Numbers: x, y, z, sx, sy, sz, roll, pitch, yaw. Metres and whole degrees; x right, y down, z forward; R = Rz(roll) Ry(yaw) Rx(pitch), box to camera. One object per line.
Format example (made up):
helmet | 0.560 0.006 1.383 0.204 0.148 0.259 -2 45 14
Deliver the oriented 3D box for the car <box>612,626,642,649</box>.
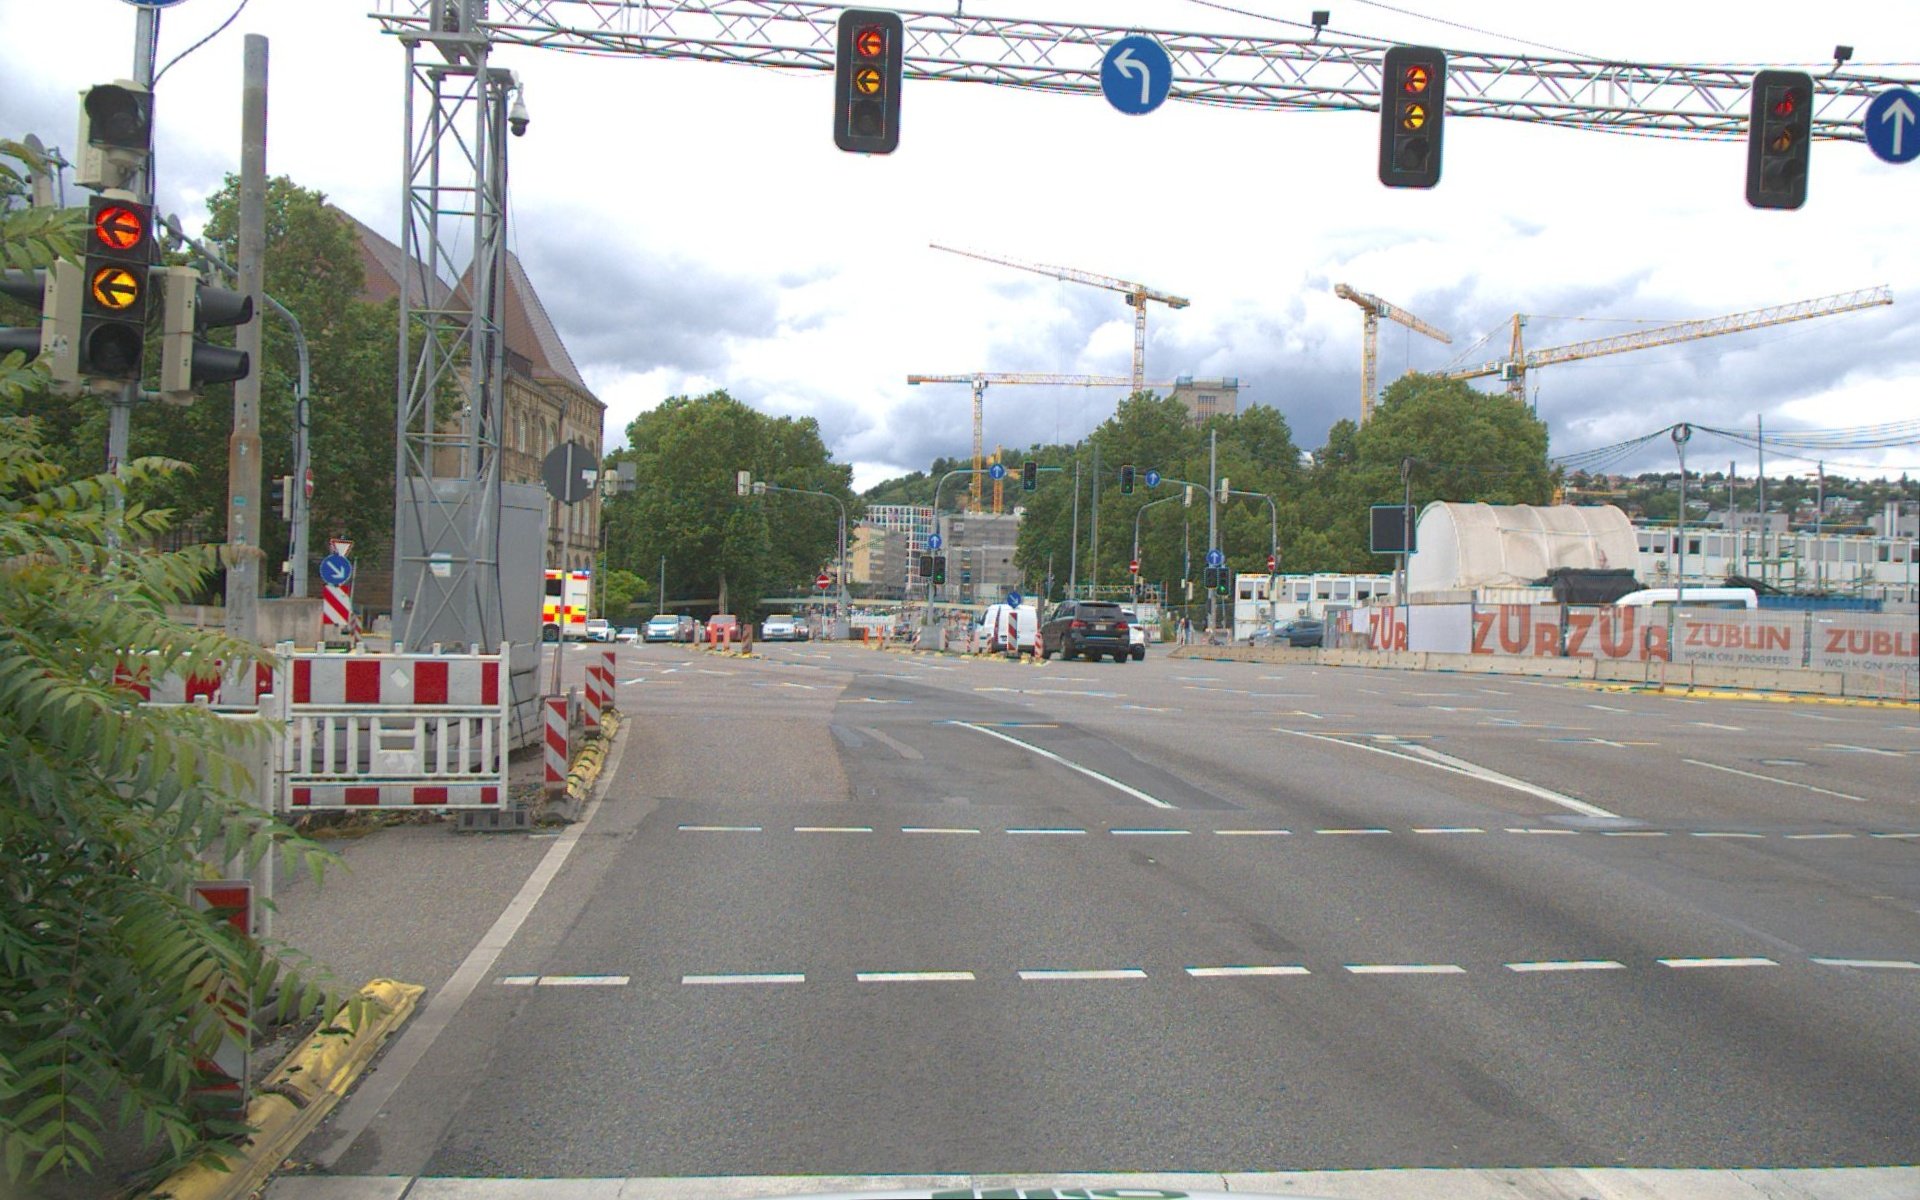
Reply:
car | -22.306 2.510 110.885 1.644 1.422 3.677 1 0 -7

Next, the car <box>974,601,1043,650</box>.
car | 1.685 0.866 58.456 1.783 1.653 3.993 1 0 -8

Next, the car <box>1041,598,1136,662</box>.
car | 3.734 0.848 48.808 1.799 1.776 4.245 1 0 -10

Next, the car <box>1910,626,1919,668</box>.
car | 36.493 1.771 61.154 1.641 1.554 4.001 1 0 20

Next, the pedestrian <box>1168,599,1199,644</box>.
pedestrian | 10.366 1.008 76.703 1.075 2.049 1.181 1 -1 -12

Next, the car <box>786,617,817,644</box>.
car | -8.813 1.657 91.850 1.644 1.422 3.677 1 0 -7

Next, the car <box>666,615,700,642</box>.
car | -15.317 1.569 91.469 1.644 1.422 3.677 1 0 -7

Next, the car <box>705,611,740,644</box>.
car | -12.119 1.397 84.522 1.644 1.608 3.677 1 0 -7

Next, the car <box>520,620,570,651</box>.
car | -20.217 1.722 80.654 1.642 1.422 3.681 1 0 -3

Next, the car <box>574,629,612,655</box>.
car | -21.580 2.454 97.354 1.643 1.422 3.679 1 0 -5

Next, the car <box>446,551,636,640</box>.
car | -15.589 -0.137 61.547 6.636 3.105 2.359 1 -1 -19

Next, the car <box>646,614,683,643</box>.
car | -15.252 1.440 85.384 1.644 1.422 3.677 1 0 -7

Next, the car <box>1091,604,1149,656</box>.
car | 5.543 1.020 57.554 1.642 1.732 3.374 1 0 -1

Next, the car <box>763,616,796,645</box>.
car | -9.290 1.541 84.886 1.644 1.422 3.677 1 0 -7

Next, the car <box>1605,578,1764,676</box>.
car | 20.827 0.752 47.687 3.902 2.708 1.683 1 -1 13

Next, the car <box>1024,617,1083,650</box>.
car | 4.264 1.518 75.952 1.650 1.422 3.070 1 0 -19
